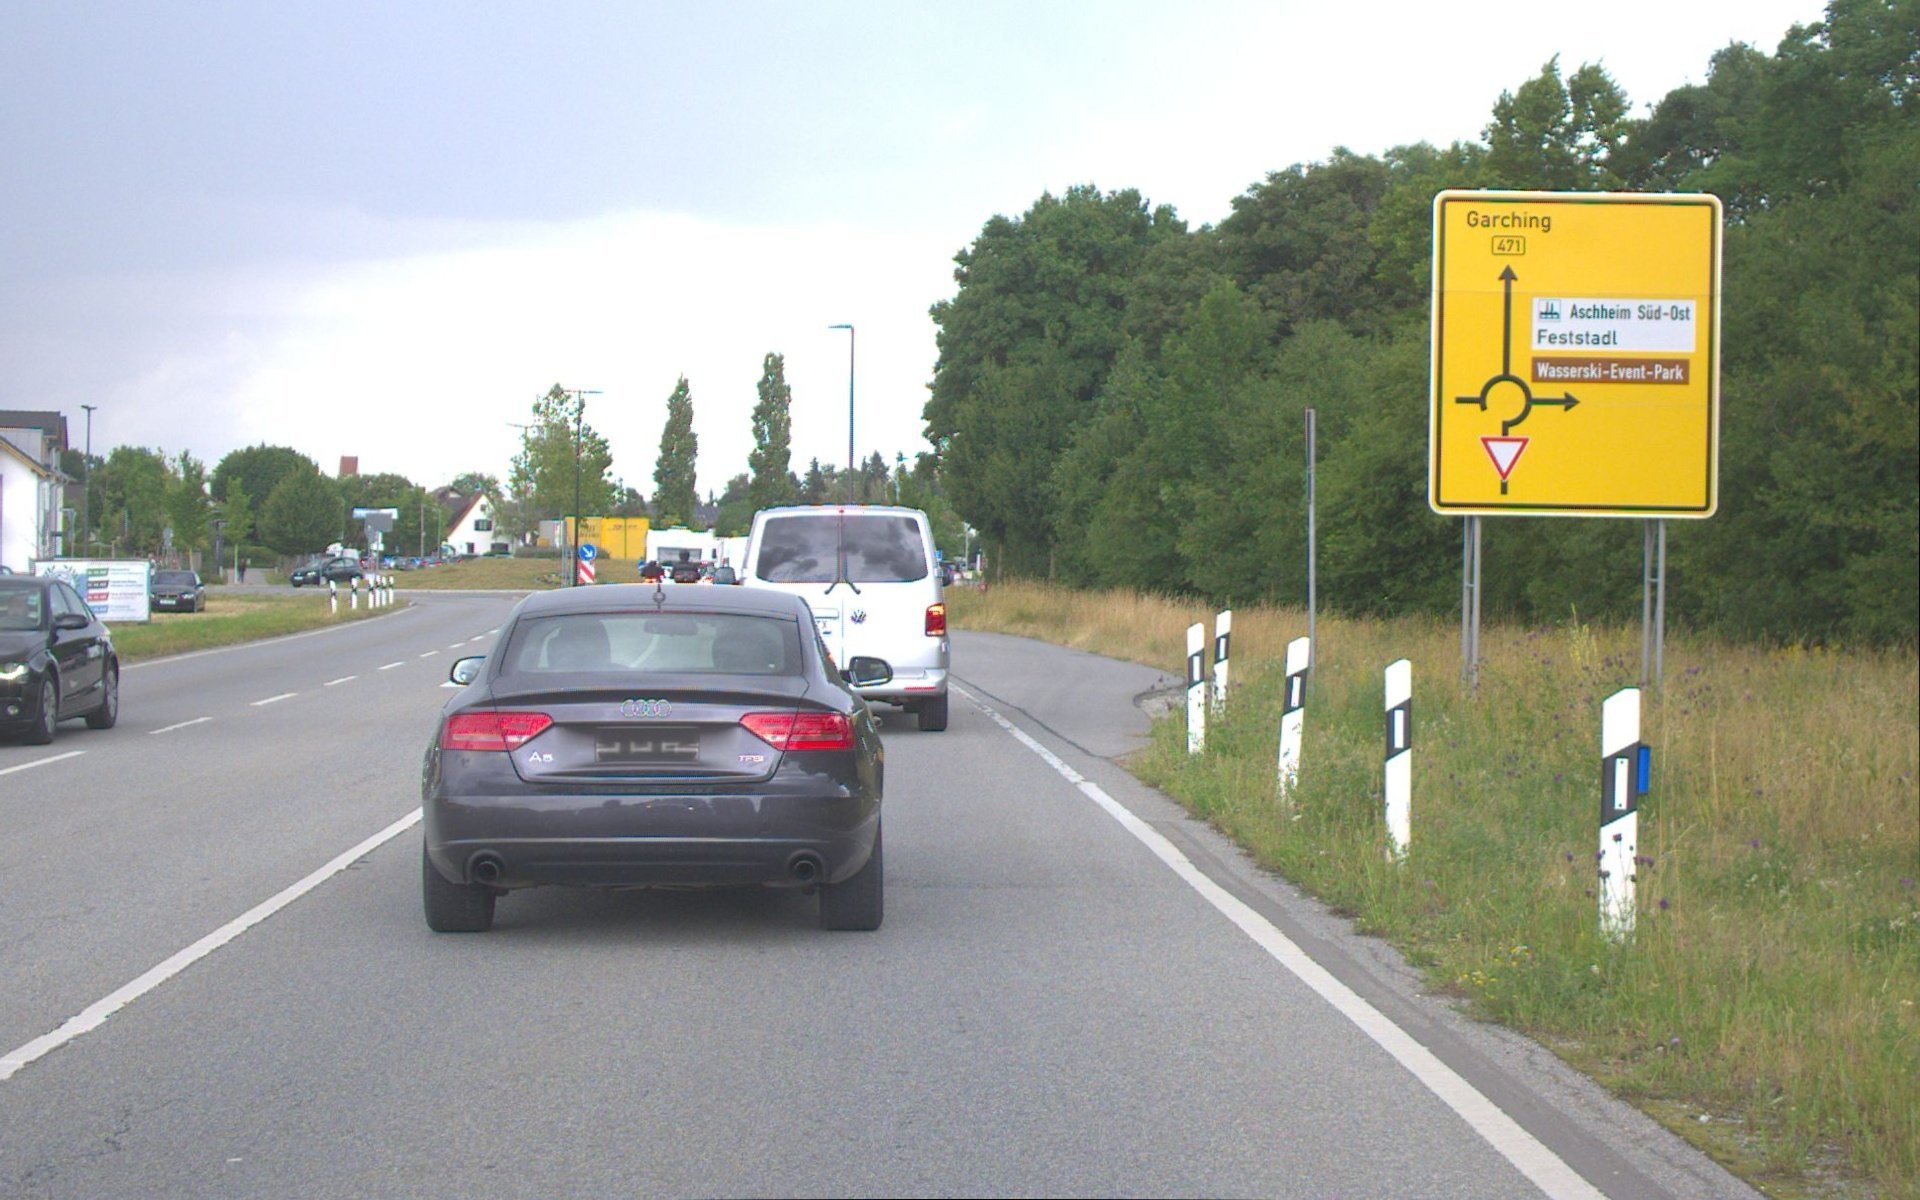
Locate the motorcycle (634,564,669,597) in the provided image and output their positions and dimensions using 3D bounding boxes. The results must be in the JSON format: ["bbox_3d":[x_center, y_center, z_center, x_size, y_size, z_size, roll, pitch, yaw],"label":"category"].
[{"bbox_3d":[-9.720,-0.611,108.296,0.944,1.016,2.284,1,1,-9],"label":"motorcycle"}]

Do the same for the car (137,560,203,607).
[{"bbox_3d":[-25.787,-0.546,112.176,1.993,1.437,4.001,0,1,-14],"label":"car"}]

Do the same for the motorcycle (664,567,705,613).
[{"bbox_3d":[-6.662,-0.256,83.176,0.920,1.090,2.189,1,1,-4],"label":"motorcycle"}]

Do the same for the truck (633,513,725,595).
[{"bbox_3d":[-9.881,-1.607,120.588,2.625,2.728,5.869,1,0,-10],"label":"truck"}]

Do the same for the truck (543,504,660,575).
[{"bbox_3d":[-19.037,-3.220,181.989,3.575,3.566,9.959,1,1,-21],"label":"truck"}]

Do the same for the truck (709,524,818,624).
[{"bbox_3d":[-4.119,-0.543,72.153,2.193,2.007,5.085,1,0,-3],"label":"truck"}]

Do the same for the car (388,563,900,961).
[{"bbox_3d":[-1.298,0.573,14.738,1.875,1.449,4.177,0,1,-4],"label":"car"}]

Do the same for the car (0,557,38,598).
[{"bbox_3d":[-35.273,-0.816,124.100,1.995,1.441,4.209,1,1,15],"label":"car"}]

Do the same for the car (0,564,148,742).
[{"bbox_3d":[-8.358,0.406,29.583,1.826,1.405,4.424,0,1,-2],"label":"car"}]

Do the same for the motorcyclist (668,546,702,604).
[{"bbox_3d":[-6.641,-0.610,83.037,0.772,1.379,0.820,1,0,-4],"label":"motorcyclist"}]

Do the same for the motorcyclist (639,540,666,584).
[{"bbox_3d":[-9.696,-1.194,108.371,0.785,1.352,0.854,1,0,-9],"label":"motorcyclist"}]

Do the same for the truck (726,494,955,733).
[{"bbox_3d":[-1.129,0.081,31.219,1.904,1.991,4.629,1,1,-3],"label":"truck"}]
